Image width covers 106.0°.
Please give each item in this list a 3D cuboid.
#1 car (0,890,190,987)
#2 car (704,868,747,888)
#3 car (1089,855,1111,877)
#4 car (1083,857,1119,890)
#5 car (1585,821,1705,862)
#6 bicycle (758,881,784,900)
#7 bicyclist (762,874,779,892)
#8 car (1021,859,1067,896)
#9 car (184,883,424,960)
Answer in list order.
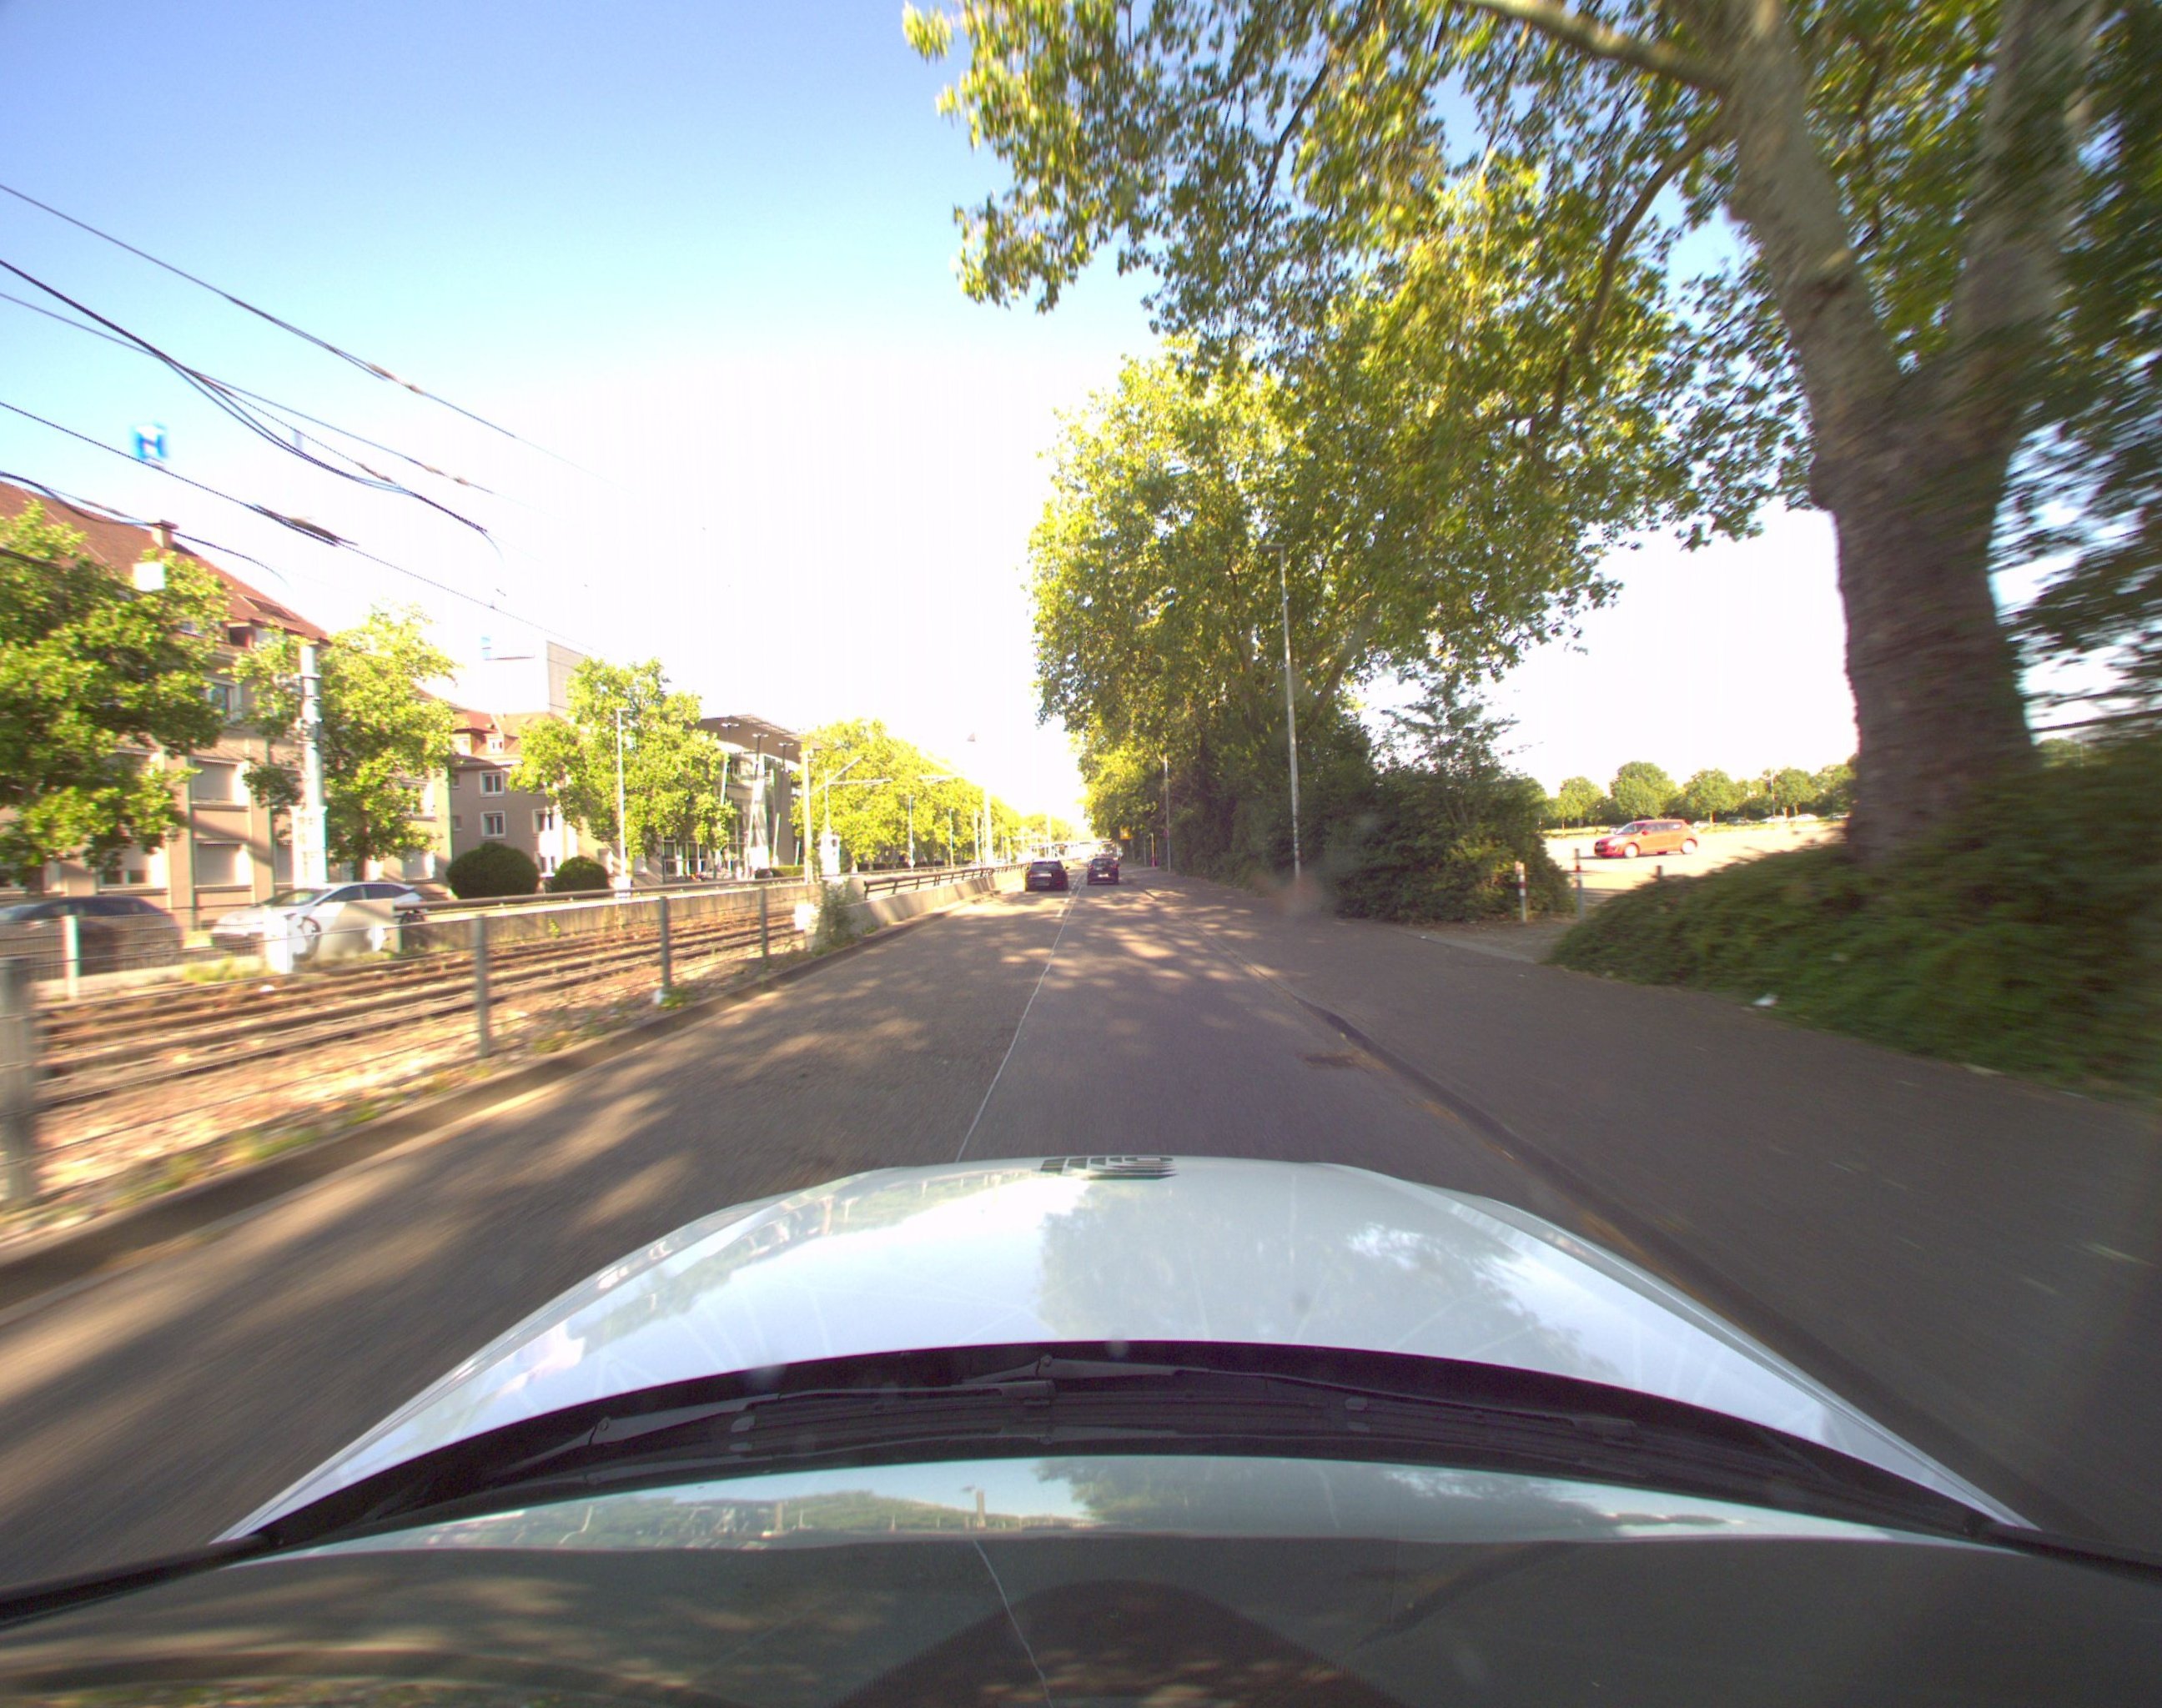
[{"bbox_3d":[-19.191,1.530,14.693,1.733,1.547,4.001,-2,0,1],"label":"car"},{"bbox_3d":[-41.355,2.800,94.804,3.974,2.013,2.000,-4,0,0],"label":"car"},{"bbox_3d":[1.878,1.196,80.797,1.986,2.013,4.002,-3,0,2],"label":"car"},{"bbox_3d":[1.041,1.016,44.131,1.757,1.619,3.999,-3,0,-1],"label":"car"},{"bbox_3d":[23.494,-0.500,34.025,3.828,1.530,1.741,-2,-1,-3],"label":"car"},{"bbox_3d":[-27.478,3.249,72.245,0.927,1.486,3.176,-3,0,0],"label":"bicycle"},{"bbox_3d":[-27.518,2.542,72.122,0.927,1.486,1.272,-3,0,0],"label":"bicyclist"},{"bbox_3d":[-1.619,1.041,36.936,1.872,1.457,3.355,-3,0,-1],"label":"car"},{"bbox_3d":[-18.961,1.577,20.169,1.986,1.530,4.001,-2,0,2],"label":"car"}]
